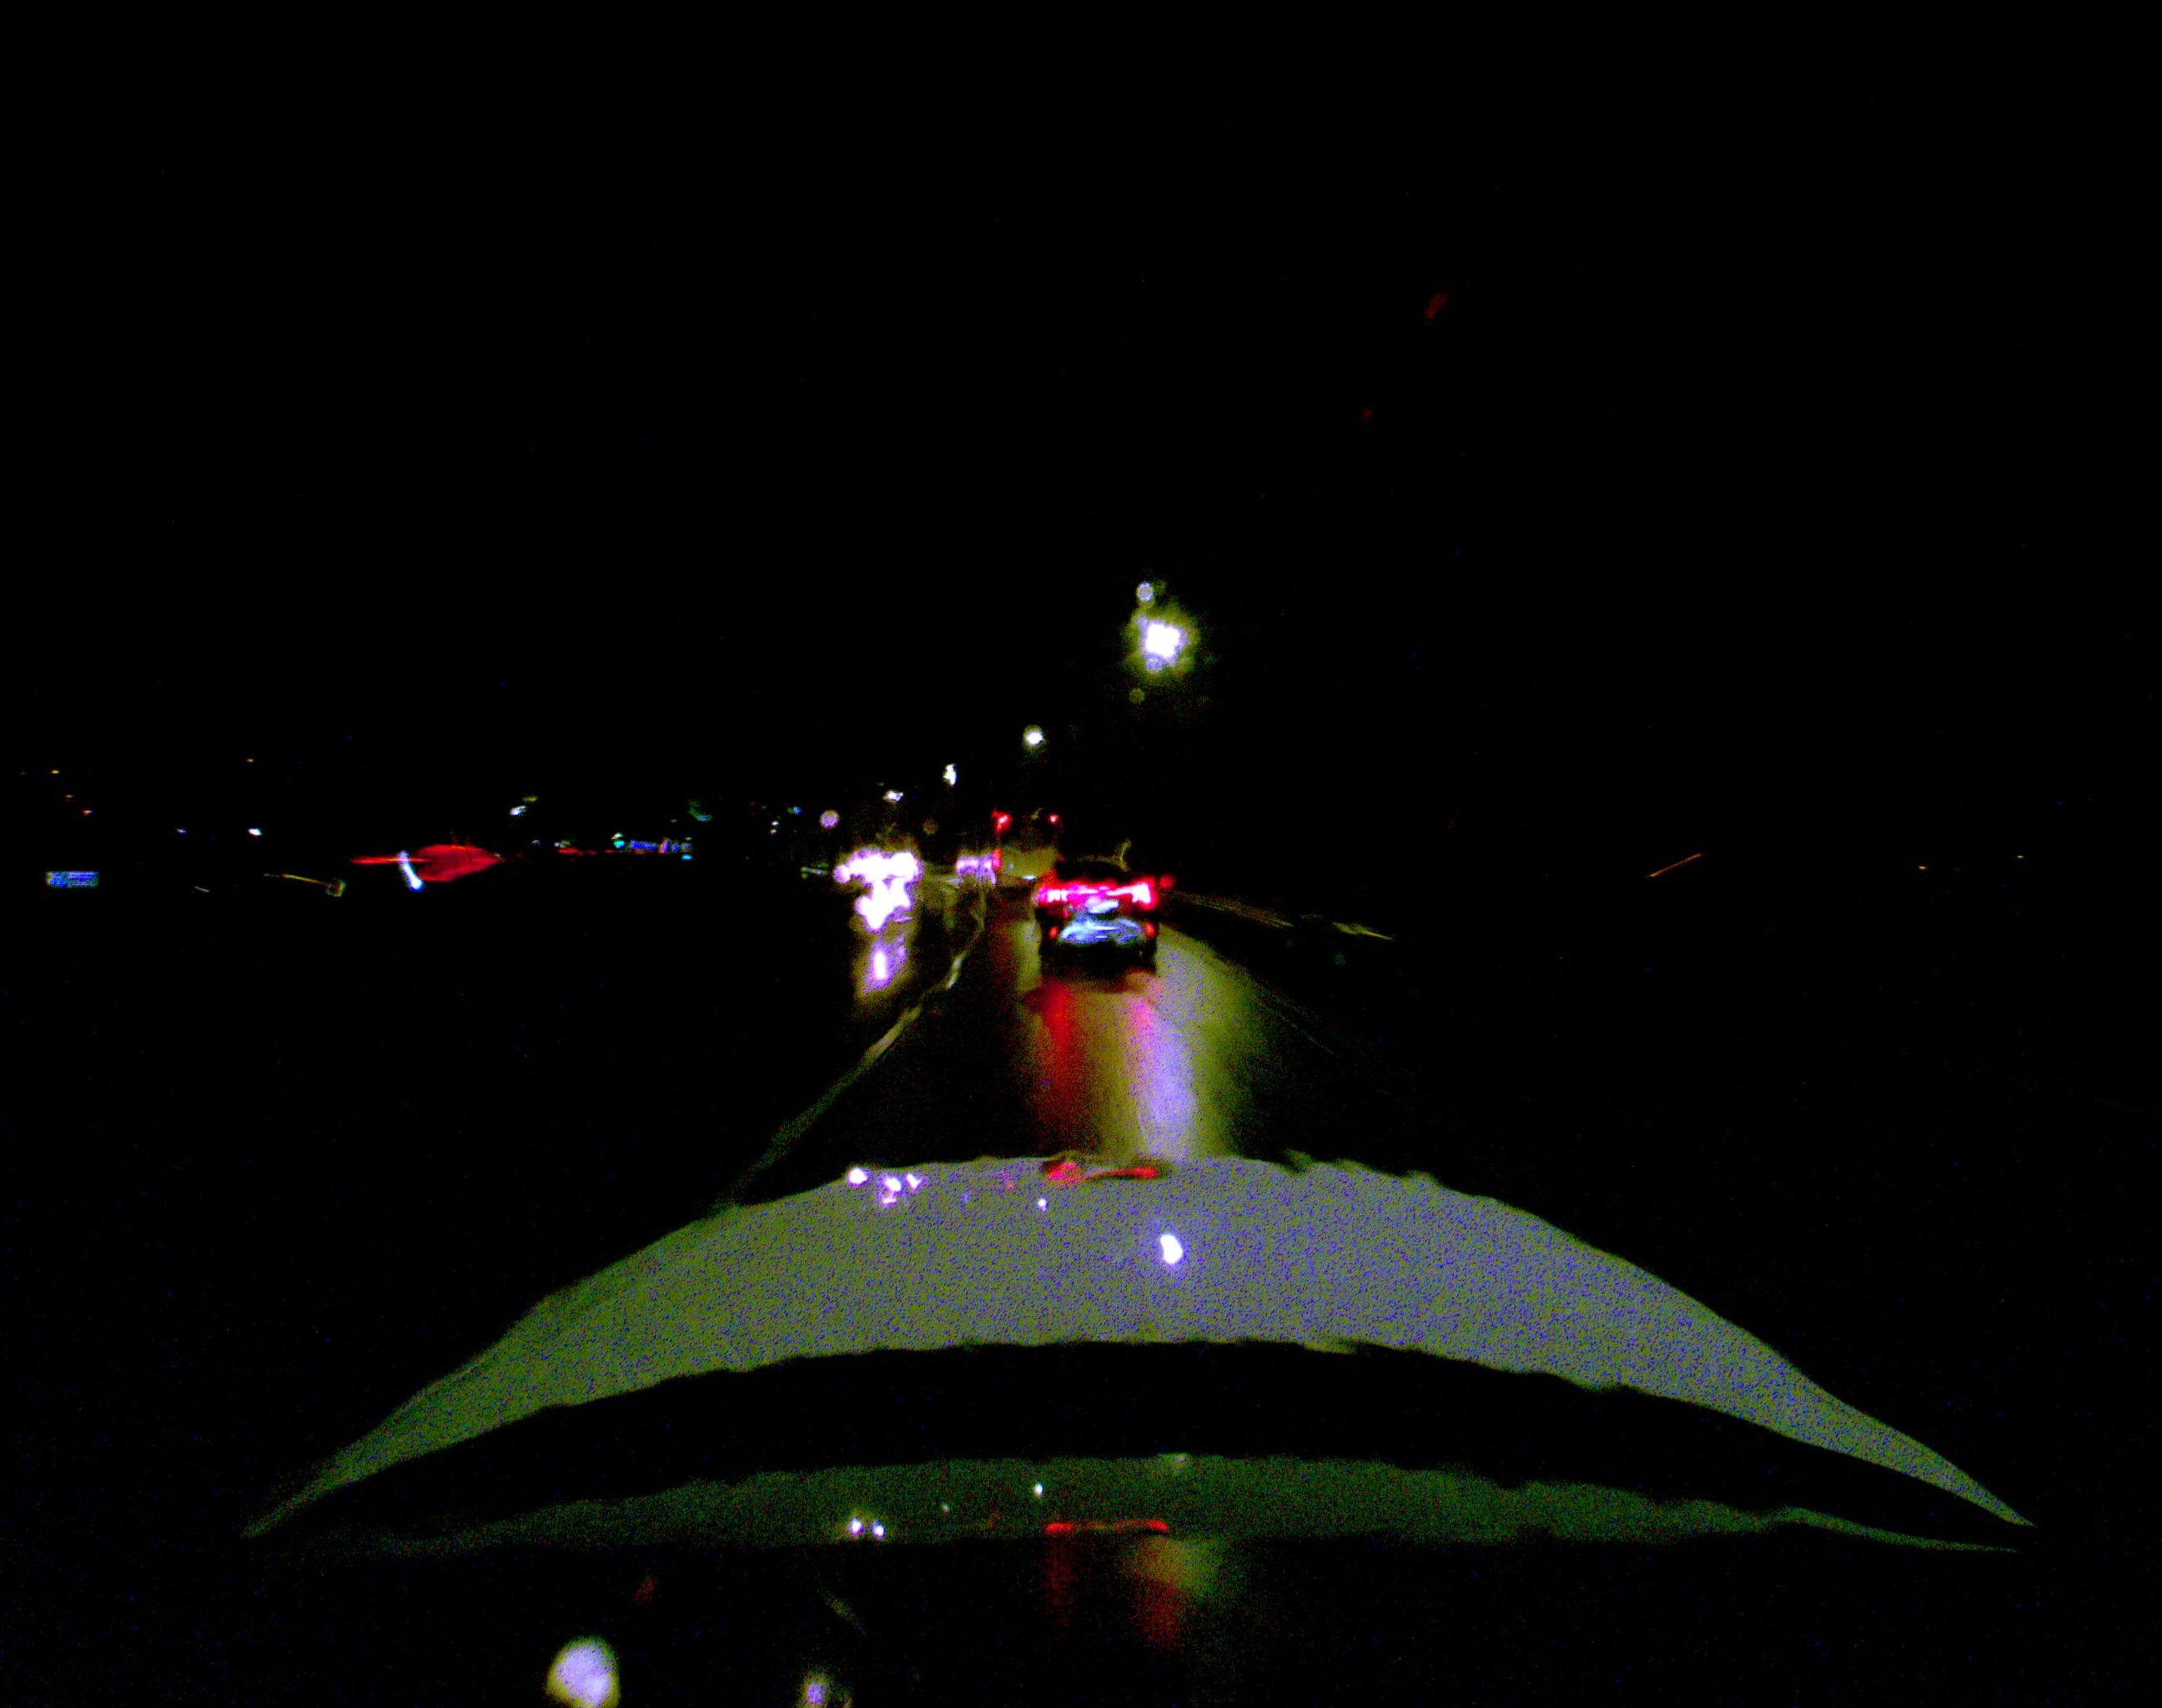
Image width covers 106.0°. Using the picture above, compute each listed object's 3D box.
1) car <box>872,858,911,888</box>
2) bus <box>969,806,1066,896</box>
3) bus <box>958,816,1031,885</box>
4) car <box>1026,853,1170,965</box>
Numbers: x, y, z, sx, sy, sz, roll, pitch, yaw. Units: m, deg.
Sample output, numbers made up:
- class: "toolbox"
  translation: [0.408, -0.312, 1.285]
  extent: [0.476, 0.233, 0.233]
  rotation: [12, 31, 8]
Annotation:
- class: "car"
  translation: [-13.430, 1.287, 57.534]
  extent: [2.454, 1.988, 5.464]
  rotation: [-1, 0, -16]
- class: "bus"
  translation: [-2.912, -0.110, 34.223]
  extent: [3.045, 3.212, 9.016]
  rotation: [-2, 0, -11]
- class: "bus"
  translation: [-4.784, -0.161, 43.072]
  extent: [3.045, 3.212, 9.016]
  rotation: [-2, 0, -11]
- class: "car"
  translation: [0.187, 0.764, 13.307]
  extent: [1.988, 1.524, 3.997]
  rotation: [-1, 0, -2]
